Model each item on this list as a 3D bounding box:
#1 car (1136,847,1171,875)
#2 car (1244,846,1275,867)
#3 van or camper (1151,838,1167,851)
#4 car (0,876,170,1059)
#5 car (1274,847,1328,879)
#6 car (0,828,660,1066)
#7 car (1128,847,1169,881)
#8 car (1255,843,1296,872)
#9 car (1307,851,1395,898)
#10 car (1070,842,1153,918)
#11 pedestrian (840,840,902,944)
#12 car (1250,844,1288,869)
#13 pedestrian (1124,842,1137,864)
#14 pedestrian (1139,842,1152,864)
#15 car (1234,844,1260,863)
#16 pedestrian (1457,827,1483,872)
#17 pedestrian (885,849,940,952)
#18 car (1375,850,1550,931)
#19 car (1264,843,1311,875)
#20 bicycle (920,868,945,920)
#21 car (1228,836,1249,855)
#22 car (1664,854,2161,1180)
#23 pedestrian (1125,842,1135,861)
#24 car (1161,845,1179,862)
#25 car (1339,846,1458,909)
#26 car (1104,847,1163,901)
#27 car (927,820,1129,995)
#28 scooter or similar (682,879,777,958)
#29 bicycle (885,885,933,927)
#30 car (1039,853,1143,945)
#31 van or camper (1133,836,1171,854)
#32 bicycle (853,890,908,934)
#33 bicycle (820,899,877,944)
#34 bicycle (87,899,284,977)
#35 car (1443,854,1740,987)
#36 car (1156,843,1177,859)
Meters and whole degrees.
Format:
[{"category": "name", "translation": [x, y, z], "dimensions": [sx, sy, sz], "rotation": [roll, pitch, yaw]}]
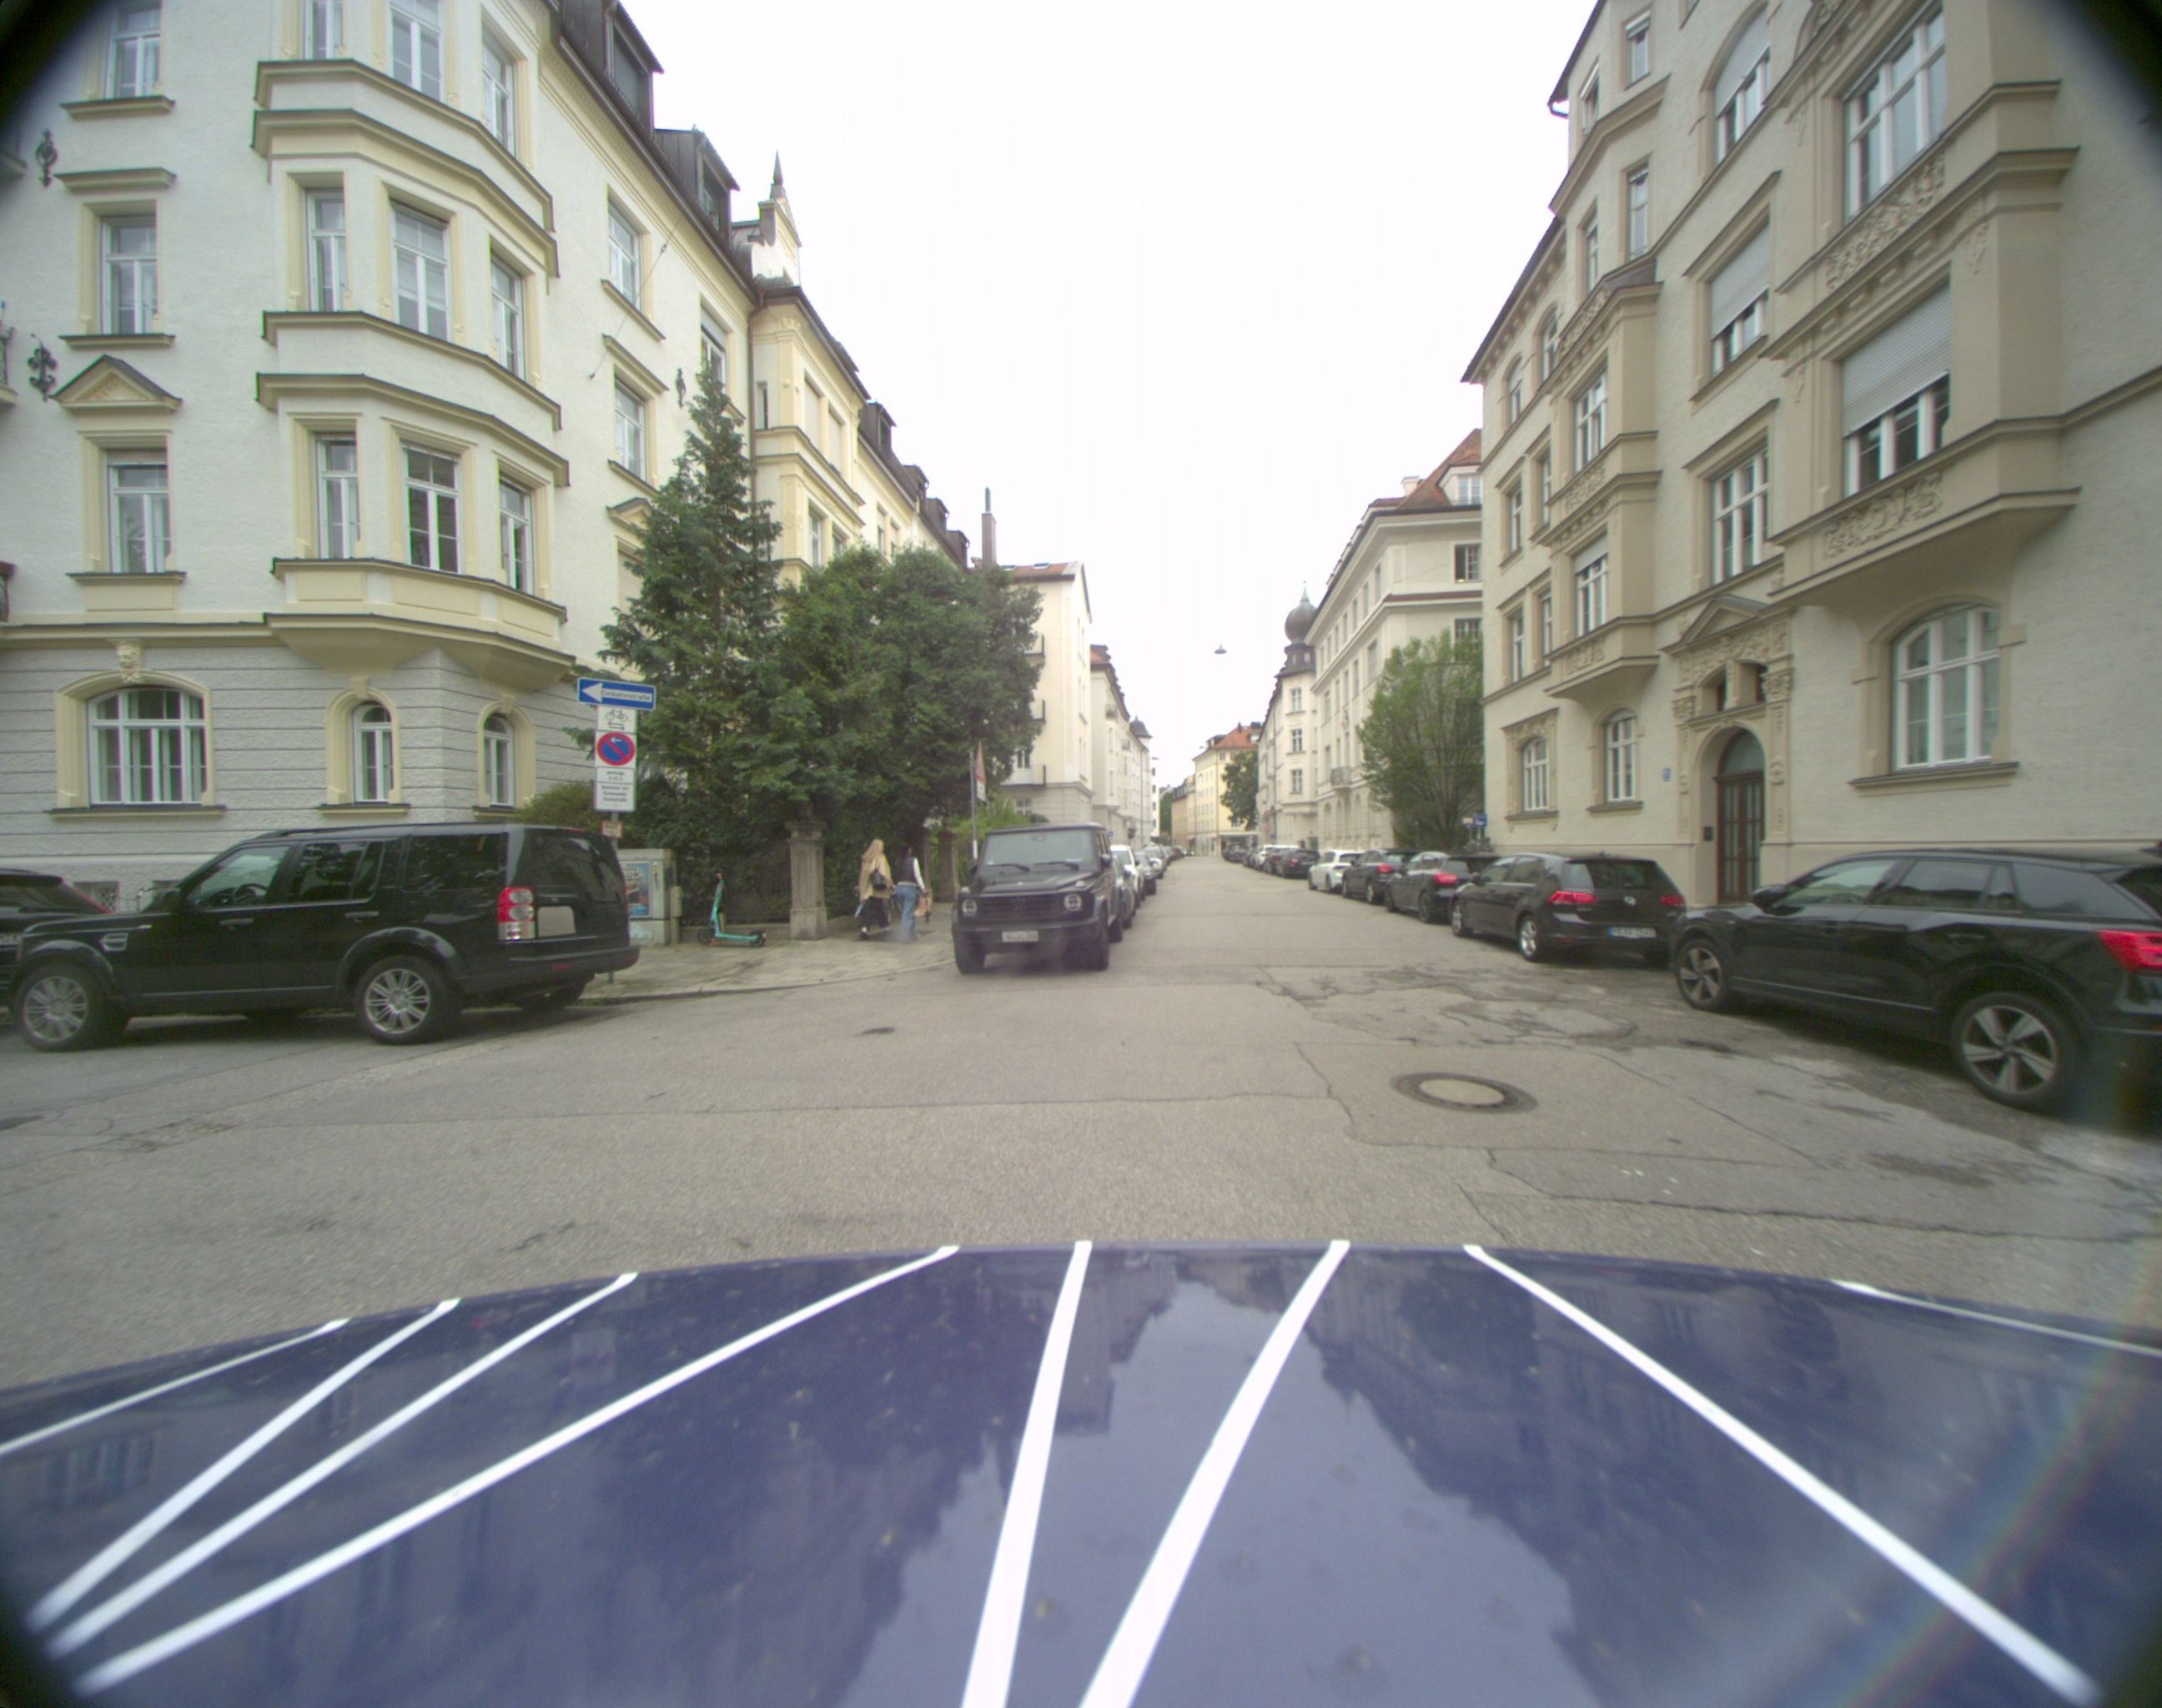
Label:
[{"category": "car", "translation": [4.683, 0.397, 48.581], "dimensions": [1.825, 1.560, 4.403], "rotation": [-4, 0, 10]}, {"category": "car", "translation": [13.088, 0.140, 55.902], "dimensions": [1.796, 1.407, 4.280], "rotation": [1, 1, 8]}, {"category": "van or camper", "translation": [15.533, -1.814, 151.112], "dimensions": [1.967, 2.494, 5.720], "rotation": [-1, 1, -6]}, {"category": "car", "translation": [-11.907, 1.063, 7.195], "dimensions": [4.247, 1.639, 1.964], "rotation": [-1, -1, 1]}, {"category": "car", "translation": [10.378, 0.392, 36.147], "dimensions": [1.790, 1.404, 4.369], "rotation": [-1, 0, 7]}, {"category": "car", "translation": [-6.844, 0.796, 7.295], "dimensions": [4.540, 1.939, 1.904], "rotation": [-1, -1, 1]}, {"category": "car", "translation": [3.425, 0.456, 37.926], "dimensions": [1.788, 1.496, 4.067], "rotation": [-2, 1, 8]}, {"category": "car", "translation": [11.757, 0.192, 46.092], "dimensions": [1.918, 1.609, 4.574], "rotation": [-1, 0, 8]}, {"category": "car", "translation": [8.943, 0.621, 25.525], "dimensions": [1.840, 1.426, 4.246], "rotation": [0, 1, 6]}, {"category": "car", "translation": [0.965, 0.612, 21.039], "dimensions": [1.726, 1.759, 4.415], "rotation": [-4, 1, 8]}, {"category": "pedestrian", "translation": [-3.545, 0.611, 12.830], "dimensions": [0.694, 1.693, 0.738], "rotation": [2, 2, 37]}, {"category": "car", "translation": [12.594, 0.150, 51.227], "dimensions": [1.786, 1.532, 4.258], "rotation": [1, 1, 4]}, {"category": "pedestrian", "translation": [4.002, -0.084, 61.652], "dimensions": [0.884, 1.801, 1.112], "rotation": [-1, 1, 13]}, {"category": "pedestrian", "translation": [5.371, -0.110, 63.188], "dimensions": [0.884, 1.776, 1.112], "rotation": [-1, 1, 12]}, {"category": "car", "translation": [14.621, -0.091, 67.040], "dimensions": [1.730, 1.609, 4.122], "rotation": [1, 1, 6]}, {"category": "pedestrian", "translation": [14.229, -0.151, 27.803], "dimensions": [0.674, 1.617, 0.631], "rotation": [-1, 1, 5]}, {"category": "pedestrian", "translation": [-2.726, 0.738, 12.360], "dimensions": [0.688, 1.619, 0.708], "rotation": [0, 2, 4]}, {"category": "car", "translation": [7.800, 0.642, 16.078], "dimensions": [1.837, 1.426, 4.555], "rotation": [0, 1, 6]}, {"category": "car", "translation": [10.990, 0.237, 40.699], "dimensions": [1.840, 1.609, 4.246], "rotation": [-1, 0, 7]}, {"category": "bicycle", "translation": [-3.393, 0.891, 17.388], "dimensions": [0.514, 1.088, 1.353], "rotation": [-1, 1, -10]}, {"category": "car", "translation": [16.195, -0.912, 78.302], "dimensions": [1.840, 1.883, 4.765], "rotation": [1, 1, 8]}, {"category": "car", "translation": [6.308, 0.798, 5.312], "dimensions": [1.756, 1.491, 4.020], "rotation": [1, 1, 8]}, {"category": "pedestrian", "translation": [4.850, -0.246, 75.362], "dimensions": [0.885, 1.803, 1.111], "rotation": [-1, 1, 9]}, {"category": "car", "translation": [9.644, -0.108, 82.256], "dimensions": [1.803, 1.665, 4.191], "rotation": [-4, 0, 7]}, {"category": "car", "translation": [8.583, 0.548, 20.978], "dimensions": [1.774, 1.509, 4.386], "rotation": [2, 1, 6]}, {"category": "car", "translation": [1.816, 0.615, 26.021], "dimensions": [1.754, 1.601, 4.425], "rotation": [-3, 0, 4]}, {"category": "car", "translation": [-0.477, 0.631, 11.043], "dimensions": [1.954, 1.943, 4.668], "rotation": [-3, 0, 7]}, {"category": "scooter or similar", "translation": [-5.468, 0.985, 11.835], "dimensions": [1.349, 1.183, 0.371], "rotation": [0, 2, 10]}, {"category": "bicycle", "translation": [-3.640, 1.081, 16.193], "dimensions": [0.513, 0.777, 1.355], "rotation": [-1, 1, 9]}, {"category": "car", "translation": [0.321, 0.828, 15.762], "dimensions": [1.726, 1.510, 3.631], "rotation": [-4, 1, 6]}, {"category": "van or camper", "translation": [11.466, -1.520, 123.282], "dimensions": [5.866, 2.697, 2.305], "rotation": [-1, -2, 1]}, {"category": "bicycle", "translation": [-3.882, 1.113, 14.772], "dimensions": [0.513, 0.730, 1.355], "rotation": [-1, 1, 9]}, {"category": "bicycle", "translation": [-4.093, 1.186, 13.453], "dimensions": [0.513, 0.679, 1.124], "rotation": [-1, 1, 9]}, {"category": "bicycle", "translation": [-14.081, 1.314, 11.981], "dimensions": [2.411, 1.099, 0.538], "rotation": [-2, 1, 0]}, {"category": "car", "translation": [6.895, 0.764, 10.914], "dimensions": [1.839, 1.427, 4.247], "rotation": [2, 1, 8]}, {"category": "car", "translation": [8.224, -0.309, 73.491], "dimensions": [1.840, 1.391, 4.975], "rotation": [-3, 0, 5]}]
